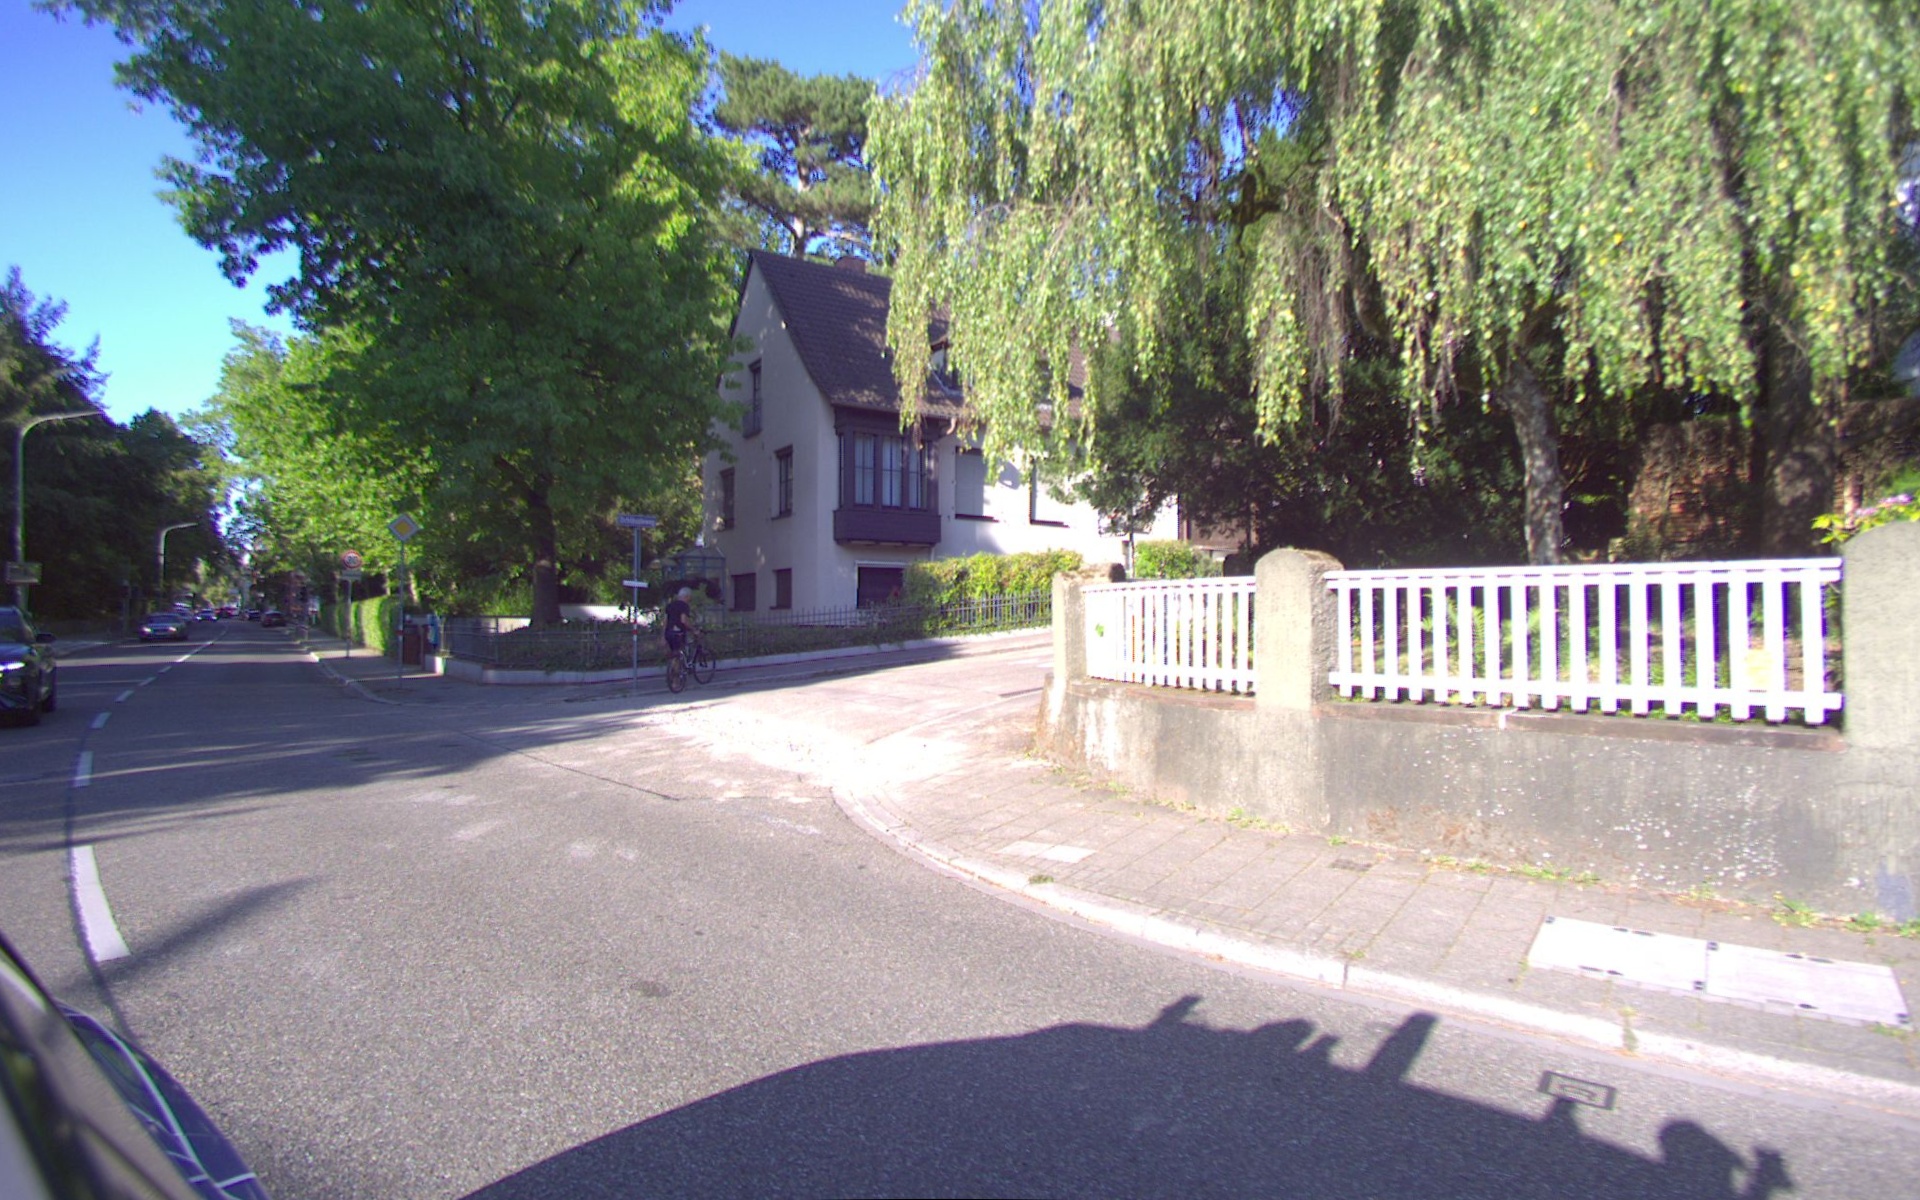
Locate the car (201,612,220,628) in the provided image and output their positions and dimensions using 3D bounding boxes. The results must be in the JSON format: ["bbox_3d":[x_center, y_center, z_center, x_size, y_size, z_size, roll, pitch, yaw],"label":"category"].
[{"bbox_3d":[-97.797,2.584,132.034,1.968,2.029,4.008,0,-1,-38],"label":"car"}]

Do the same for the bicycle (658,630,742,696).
[{"bbox_3d":[-4.663,1.109,18.253,0.557,1.051,1.807,-3,-1,18],"label":"bicycle"}]

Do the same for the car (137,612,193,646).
[{"bbox_3d":[-41.928,1.479,53.477,1.967,1.652,4.011,-2,1,-34],"label":"car"}]

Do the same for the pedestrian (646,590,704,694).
[{"bbox_3d":[-5.199,0.748,18.500,0.549,1.840,0.938,-3,-1,17],"label":"pedestrian"}]

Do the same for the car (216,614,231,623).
[{"bbox_3d":[-128.797,3.231,176.975,1.796,1.393,3.942,5,-3,-40],"label":"car"}]

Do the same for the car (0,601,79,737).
[{"bbox_3d":[-13.829,0.895,14.036,1.906,1.699,4.443,1,-2,-35],"label":"car"}]

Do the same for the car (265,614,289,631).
[{"bbox_3d":[-64.627,2.128,95.775,1.663,1.445,3.624,-3,1,-36],"label":"car"}]

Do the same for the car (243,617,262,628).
[{"bbox_3d":[-98.880,3.135,141.358,1.796,1.393,3.942,5,-3,-40],"label":"car"}]
